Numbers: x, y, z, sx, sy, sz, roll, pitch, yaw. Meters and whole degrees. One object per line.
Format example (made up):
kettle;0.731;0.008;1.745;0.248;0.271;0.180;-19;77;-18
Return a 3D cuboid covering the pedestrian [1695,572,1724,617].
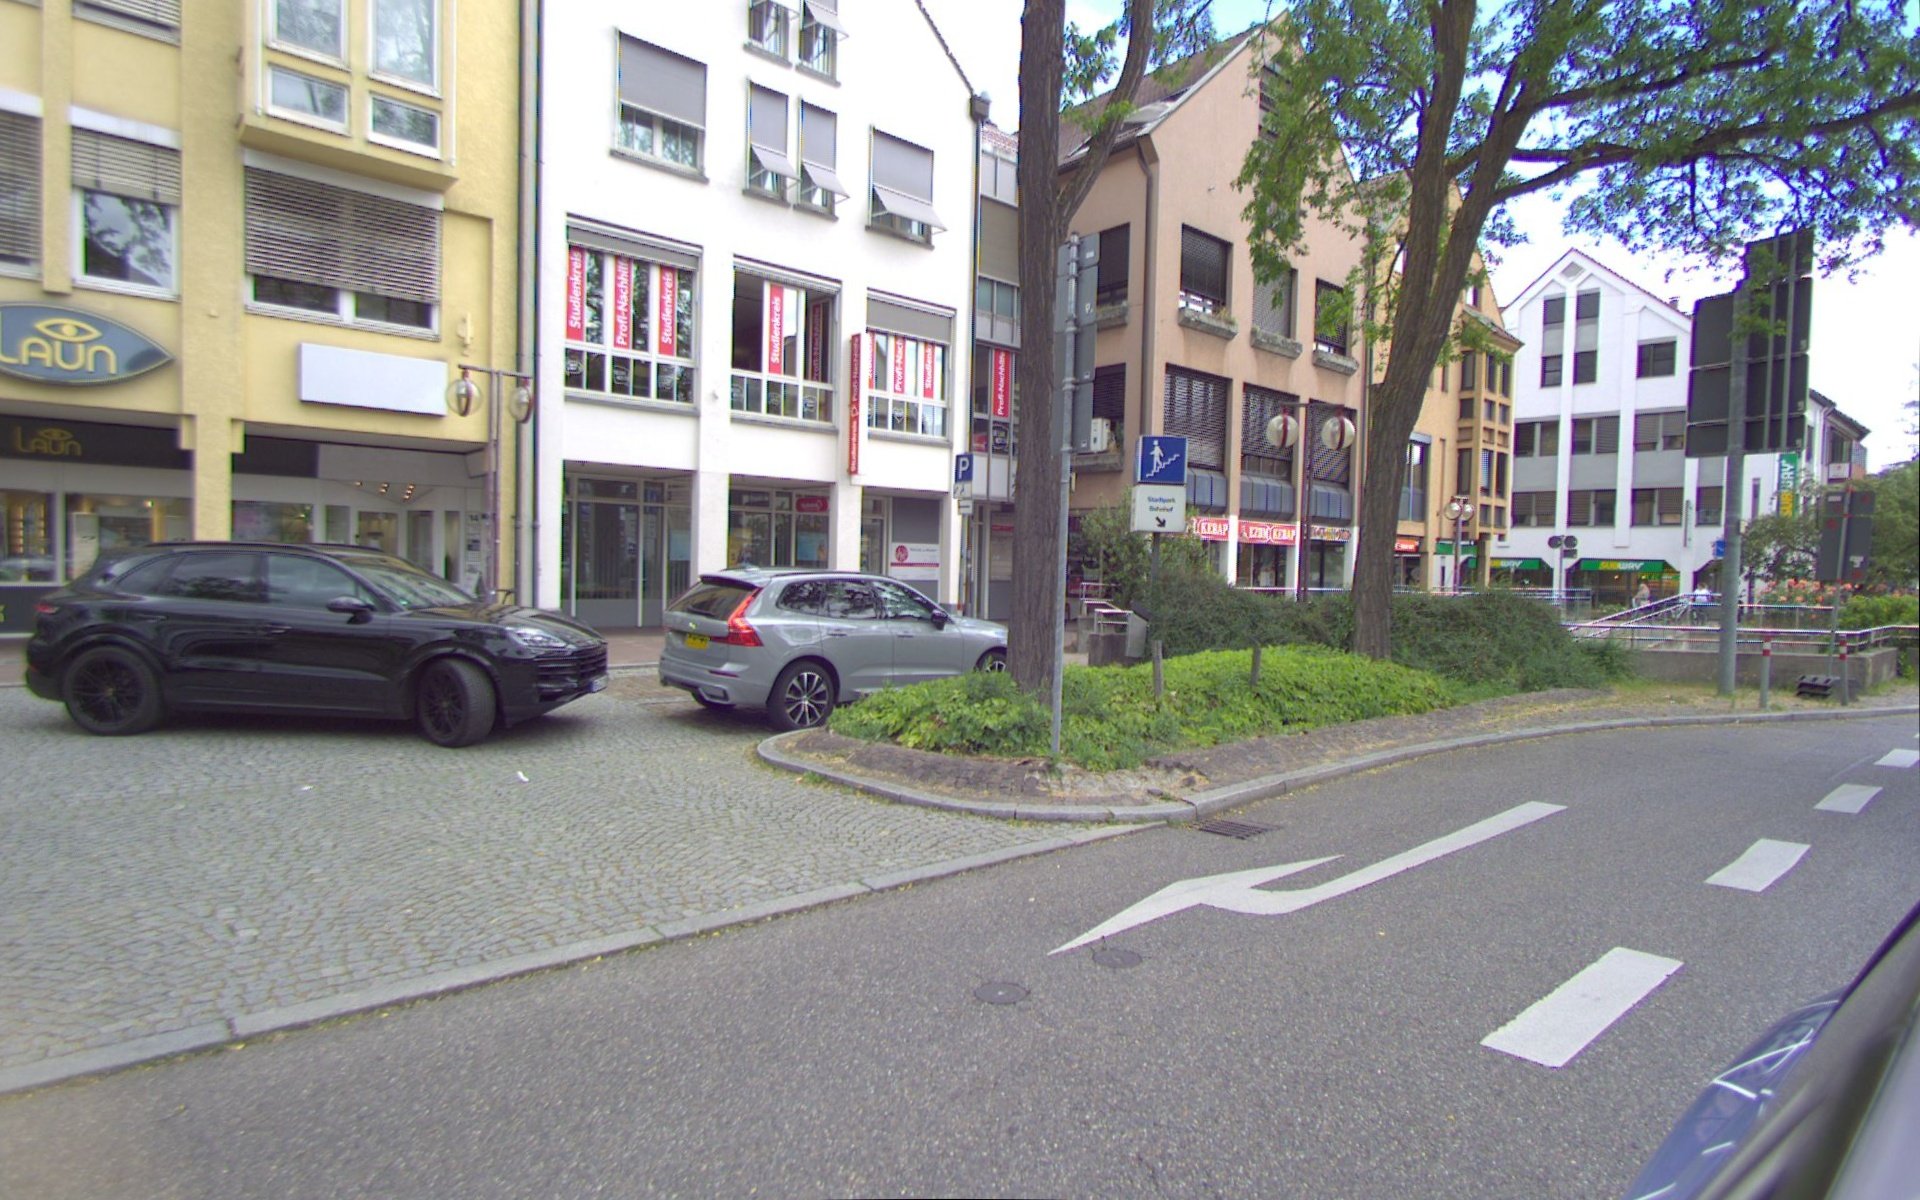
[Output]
pedestrian;31.465;-0.228;42.463;0.772;1.846;0.869;0;0;-44

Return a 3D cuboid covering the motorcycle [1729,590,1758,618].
motorcycle;30.468;0.146;39.344;1.961;1.081;0.464;0;2;-41

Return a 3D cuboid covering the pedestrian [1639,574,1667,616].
pedestrian;29.466;-0.220;43.042;0.882;1.779;0.931;2;2;38

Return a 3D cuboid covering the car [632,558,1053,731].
car;-1.205;0.384;11.936;4.684;1.615;1.996;0;2;-44

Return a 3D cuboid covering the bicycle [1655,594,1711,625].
bicycle;25.545;0.336;35.784;1.584;1.014;0.409;3;2;37

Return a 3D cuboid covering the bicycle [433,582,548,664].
bicycle;-6.393;0.295;13.823;1.354;1.057;0.393;0;2;-41

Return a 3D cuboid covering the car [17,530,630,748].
car;-5.702;0.295;9.527;4.573;1.690;1.860;2;2;-2

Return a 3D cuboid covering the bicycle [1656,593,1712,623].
bicycle;26.002;0.283;36.372;1.584;0.981;0.455;3;2;36
